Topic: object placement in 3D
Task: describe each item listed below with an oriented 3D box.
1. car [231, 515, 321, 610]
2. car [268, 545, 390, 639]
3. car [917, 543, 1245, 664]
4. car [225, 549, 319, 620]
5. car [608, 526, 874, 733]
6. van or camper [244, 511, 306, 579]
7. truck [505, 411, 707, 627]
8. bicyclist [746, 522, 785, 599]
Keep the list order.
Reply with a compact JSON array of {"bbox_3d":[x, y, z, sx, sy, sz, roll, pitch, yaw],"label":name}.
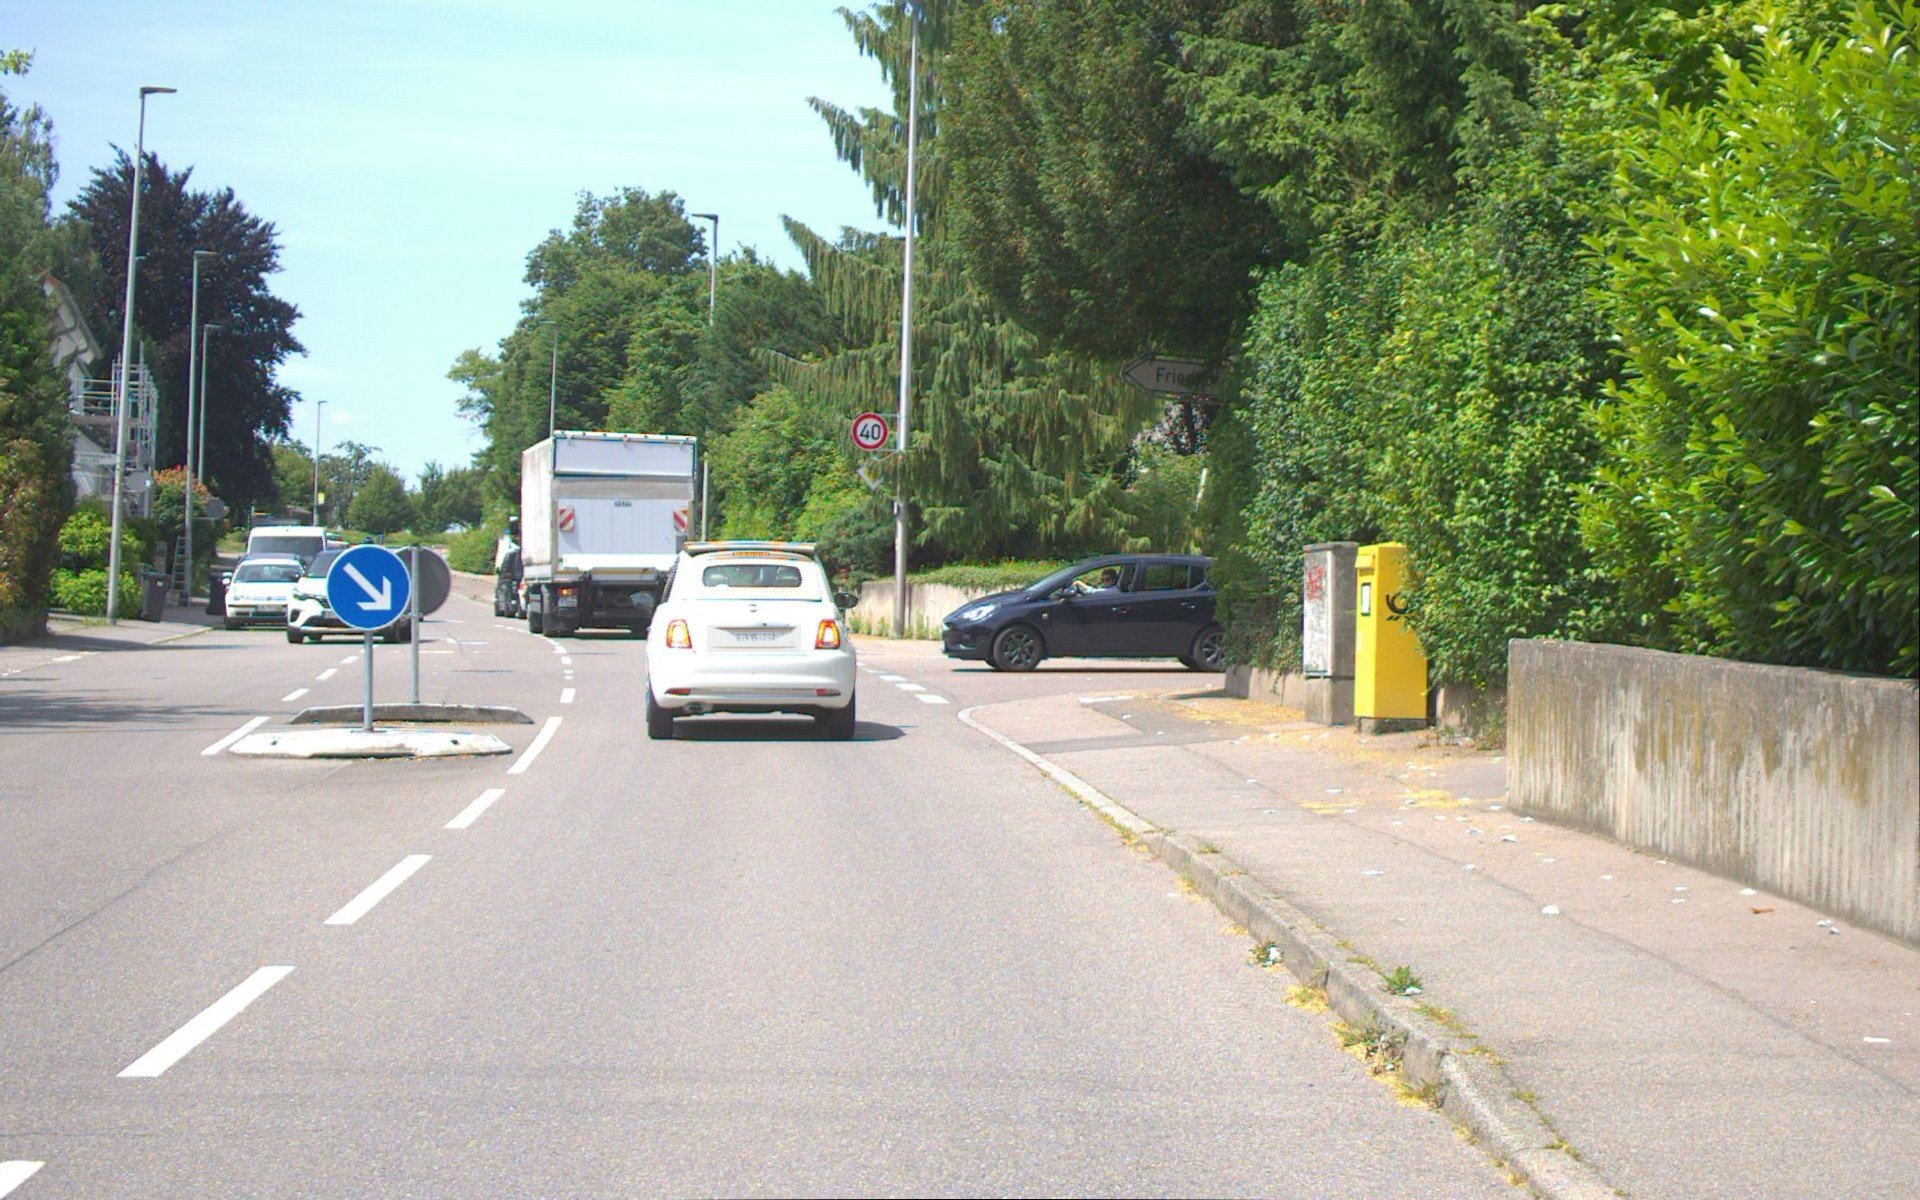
[{"bbox_3d":[-16.605,-0.914,83.447,2.036,2.192,5.584,1,1,-11],"label":"car"},{"bbox_3d":[-10.579,-0.135,57.825,1.782,1.524,4.171,0,0,-7],"label":"car"},{"bbox_3d":[1.491,0.038,43.306,3.932,1.453,1.659,1,1,-5],"label":"car"},{"bbox_3d":[-14.056,-0.332,70.244,1.804,1.393,4.001,1,1,-11],"label":"car"},{"bbox_3d":[-1.849,0.195,27.954,1.724,1.555,4.001,0,1,-10],"label":"car"},{"bbox_3d":[-31.062,-2.500,155.945,2.264,2.952,5.890,2,1,-8],"label":"van or camper"},{"bbox_3d":[-6.724,-1.451,64.299,3.067,3.761,7.870,1,0,-11],"label":"truck"},{"bbox_3d":[-3.622,-0.734,63.832,0.588,1.408,0.742,2,0,-9],"label":"bicyclist"}]
